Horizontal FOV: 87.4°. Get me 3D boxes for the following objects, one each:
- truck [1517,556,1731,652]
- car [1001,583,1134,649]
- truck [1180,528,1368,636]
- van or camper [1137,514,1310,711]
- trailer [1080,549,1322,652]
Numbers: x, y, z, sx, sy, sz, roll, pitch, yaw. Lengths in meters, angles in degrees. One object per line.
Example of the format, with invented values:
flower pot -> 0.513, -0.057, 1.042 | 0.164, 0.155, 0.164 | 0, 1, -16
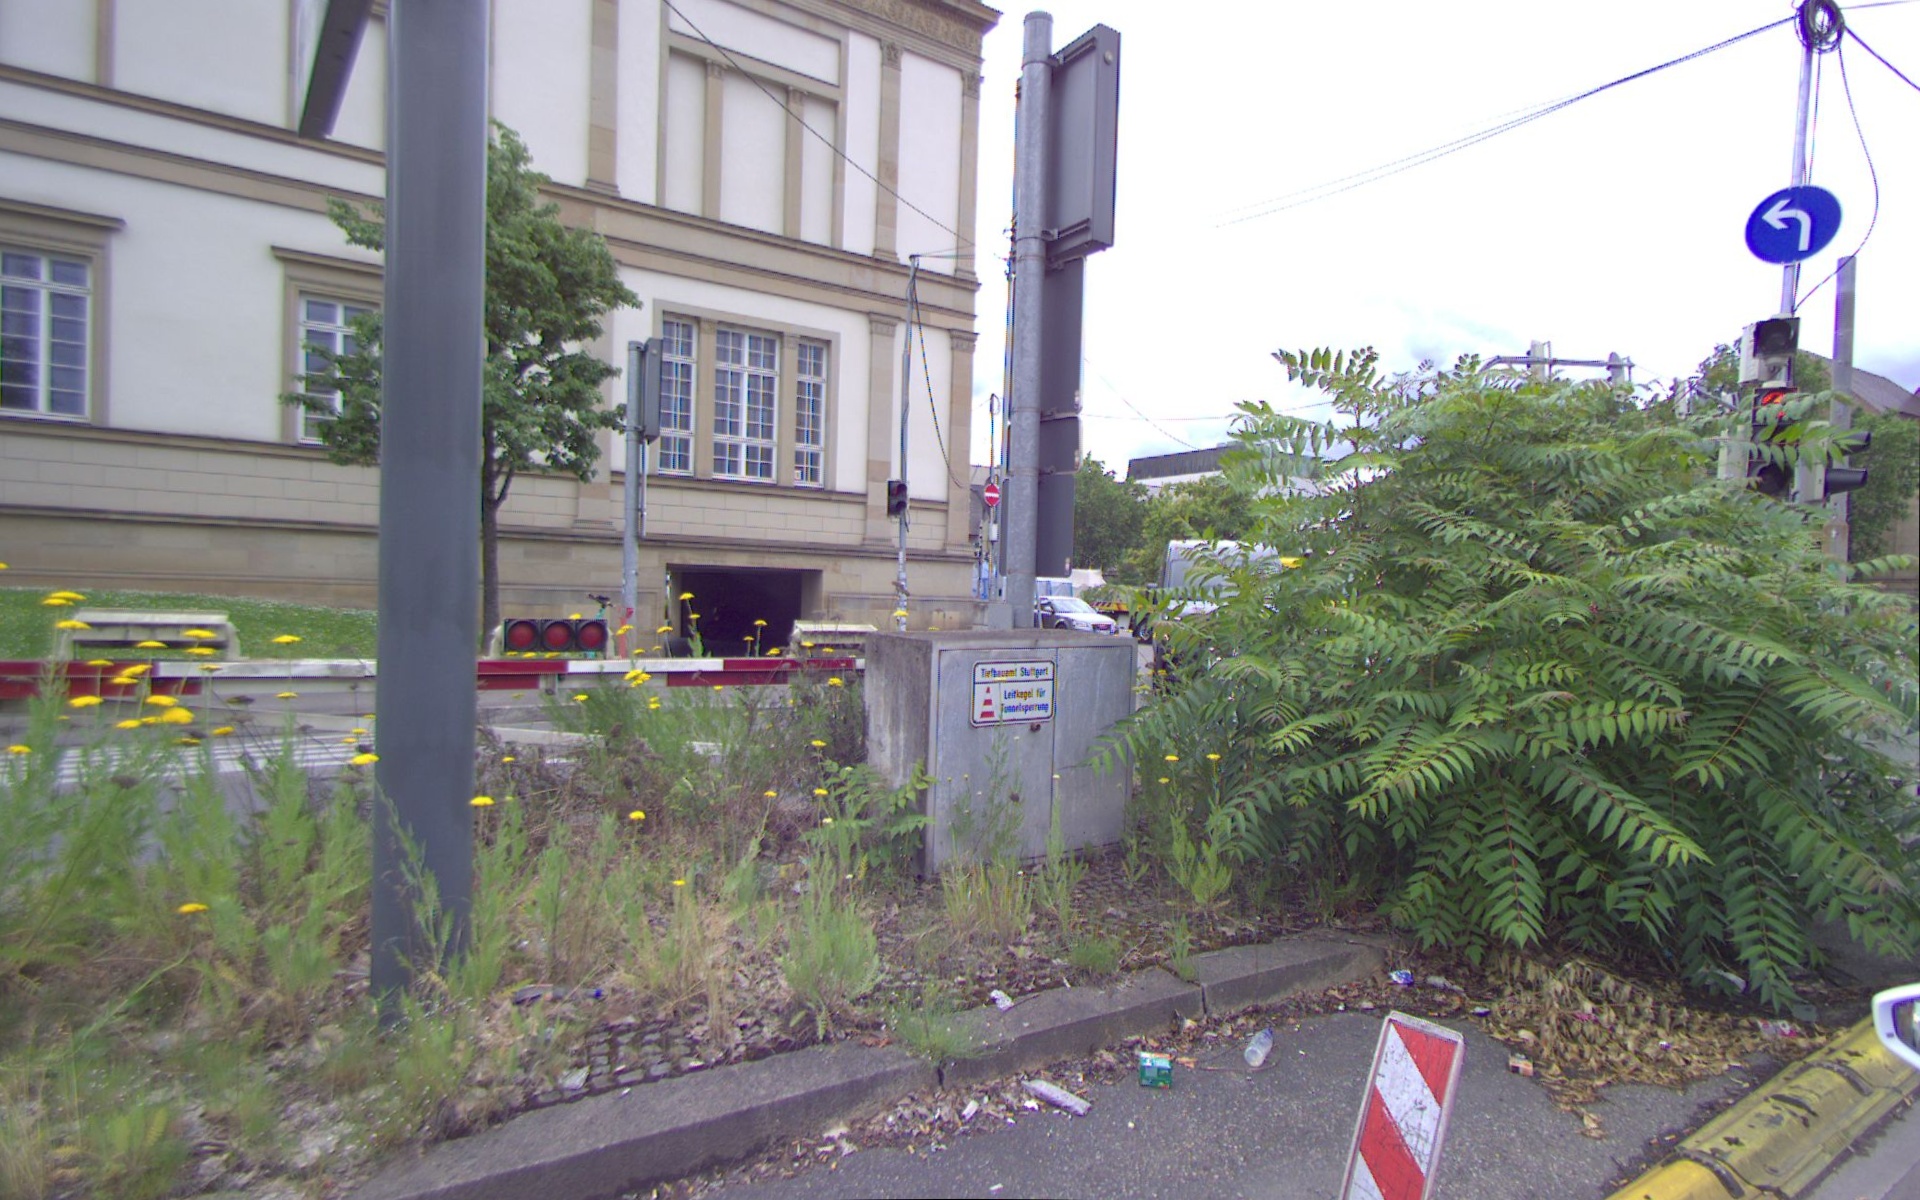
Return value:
truck -> 37.476, 0.183, 57.095 | 3.093, 5.026, 9.619 | 2, 0, -44
car -> 3.133, 0.434, 30.054 | 1.889, 1.763, 3.964 | 2, 1, -32
truck -> 8.732, -0.455, 28.263 | 2.832, 2.761, 4.180 | 2, 0, -33
van or camper -> 4.583, 0.159, 16.663 | 2.117, 2.645, 6.083 | 1, 0, 21
trailer -> 7.125, 0.006, 30.835 | 2.831, 2.761, 7.308 | 2, 0, -32
